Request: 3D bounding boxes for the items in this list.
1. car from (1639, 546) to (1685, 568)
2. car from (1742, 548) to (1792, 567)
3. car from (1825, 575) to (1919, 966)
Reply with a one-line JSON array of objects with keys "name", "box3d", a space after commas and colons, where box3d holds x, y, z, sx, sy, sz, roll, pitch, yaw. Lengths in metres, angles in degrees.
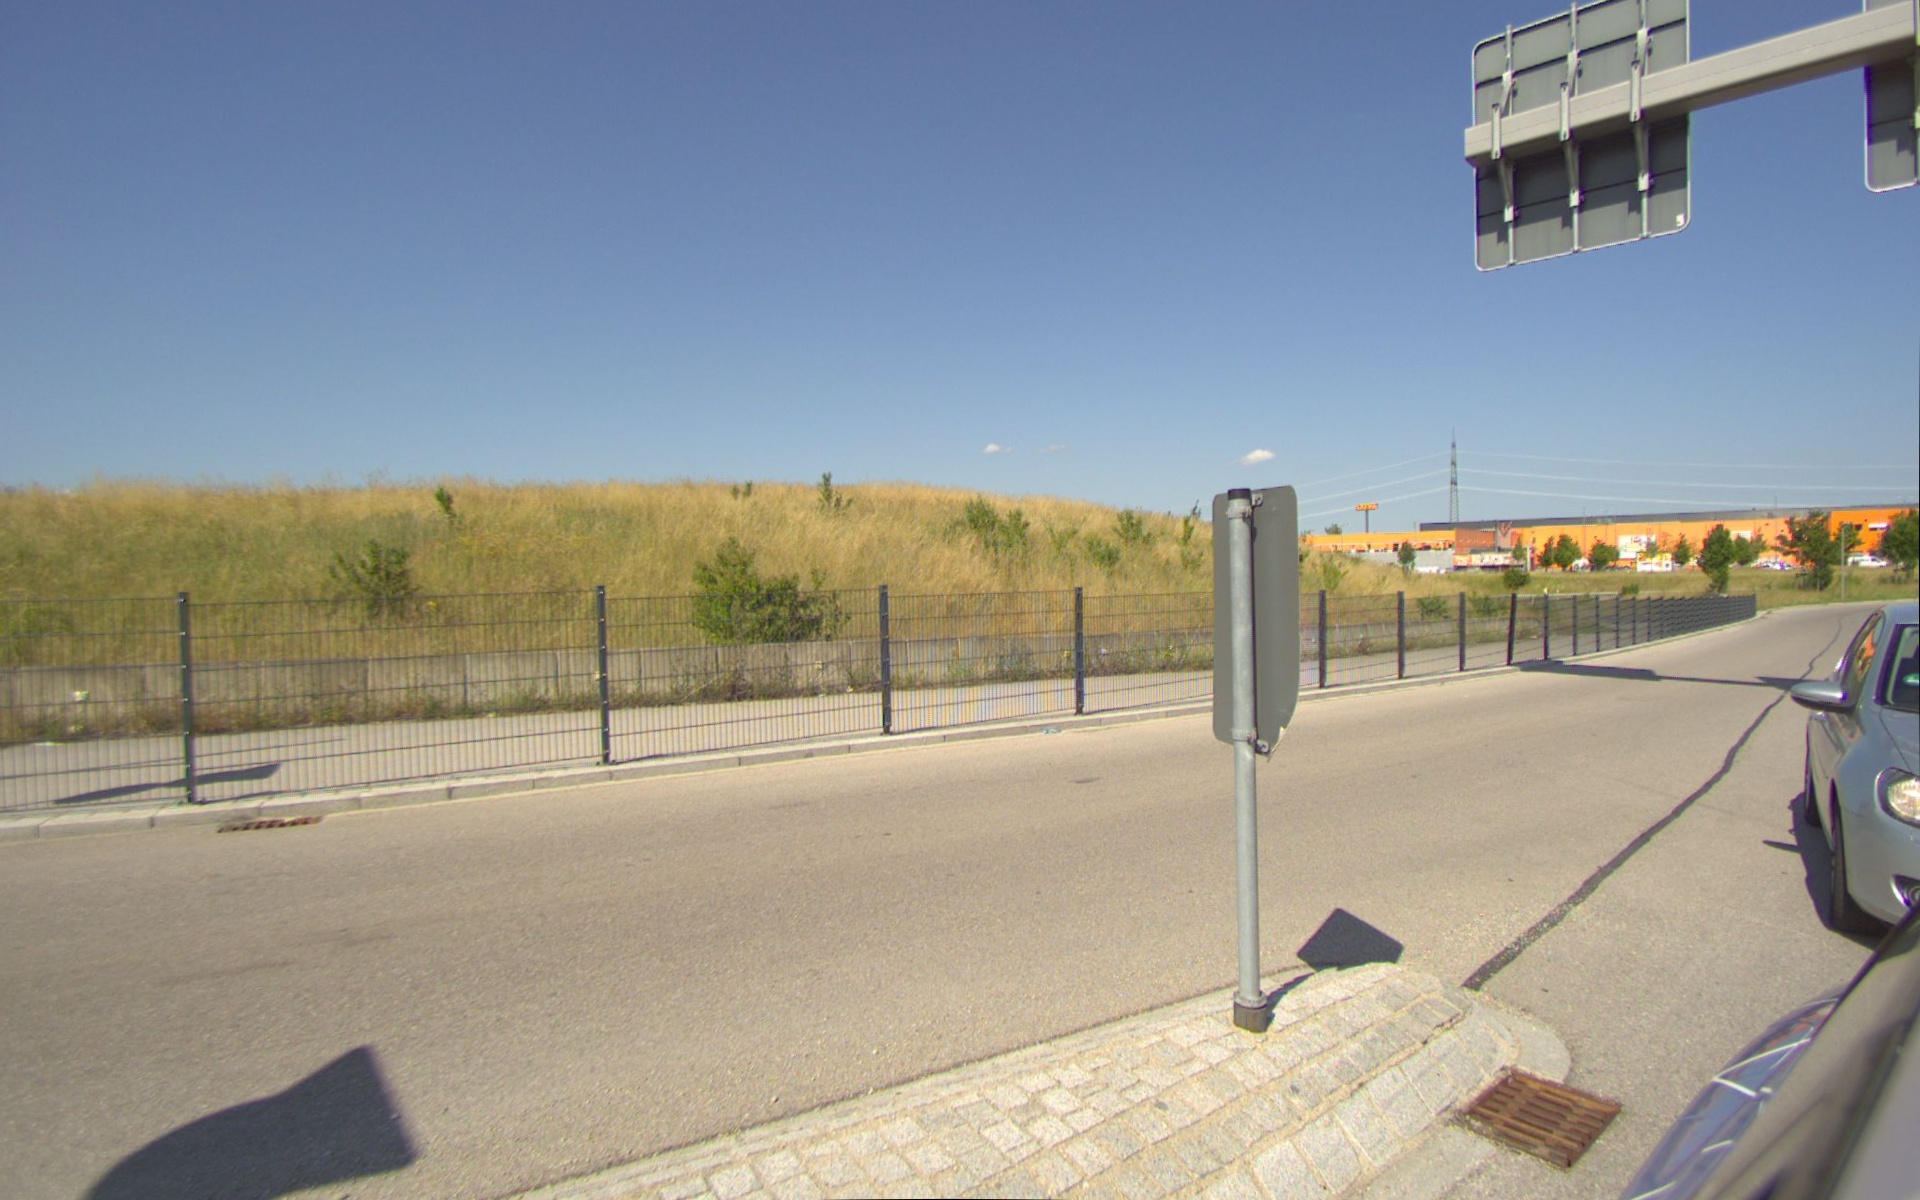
[{"name": "car", "box3d": [87.843, -5.362, 126.593, 4.611, 2.580, 1.973, -1, 1, 38]}, {"name": "car", "box3d": [95.569, -5.034, 119.923, 4.611, 2.039, 1.973, -1, 1, 38]}, {"name": "car", "box3d": [5.395, 0.646, 4.928, 1.740, 1.486, 3.903, 3, 3, 40]}]
